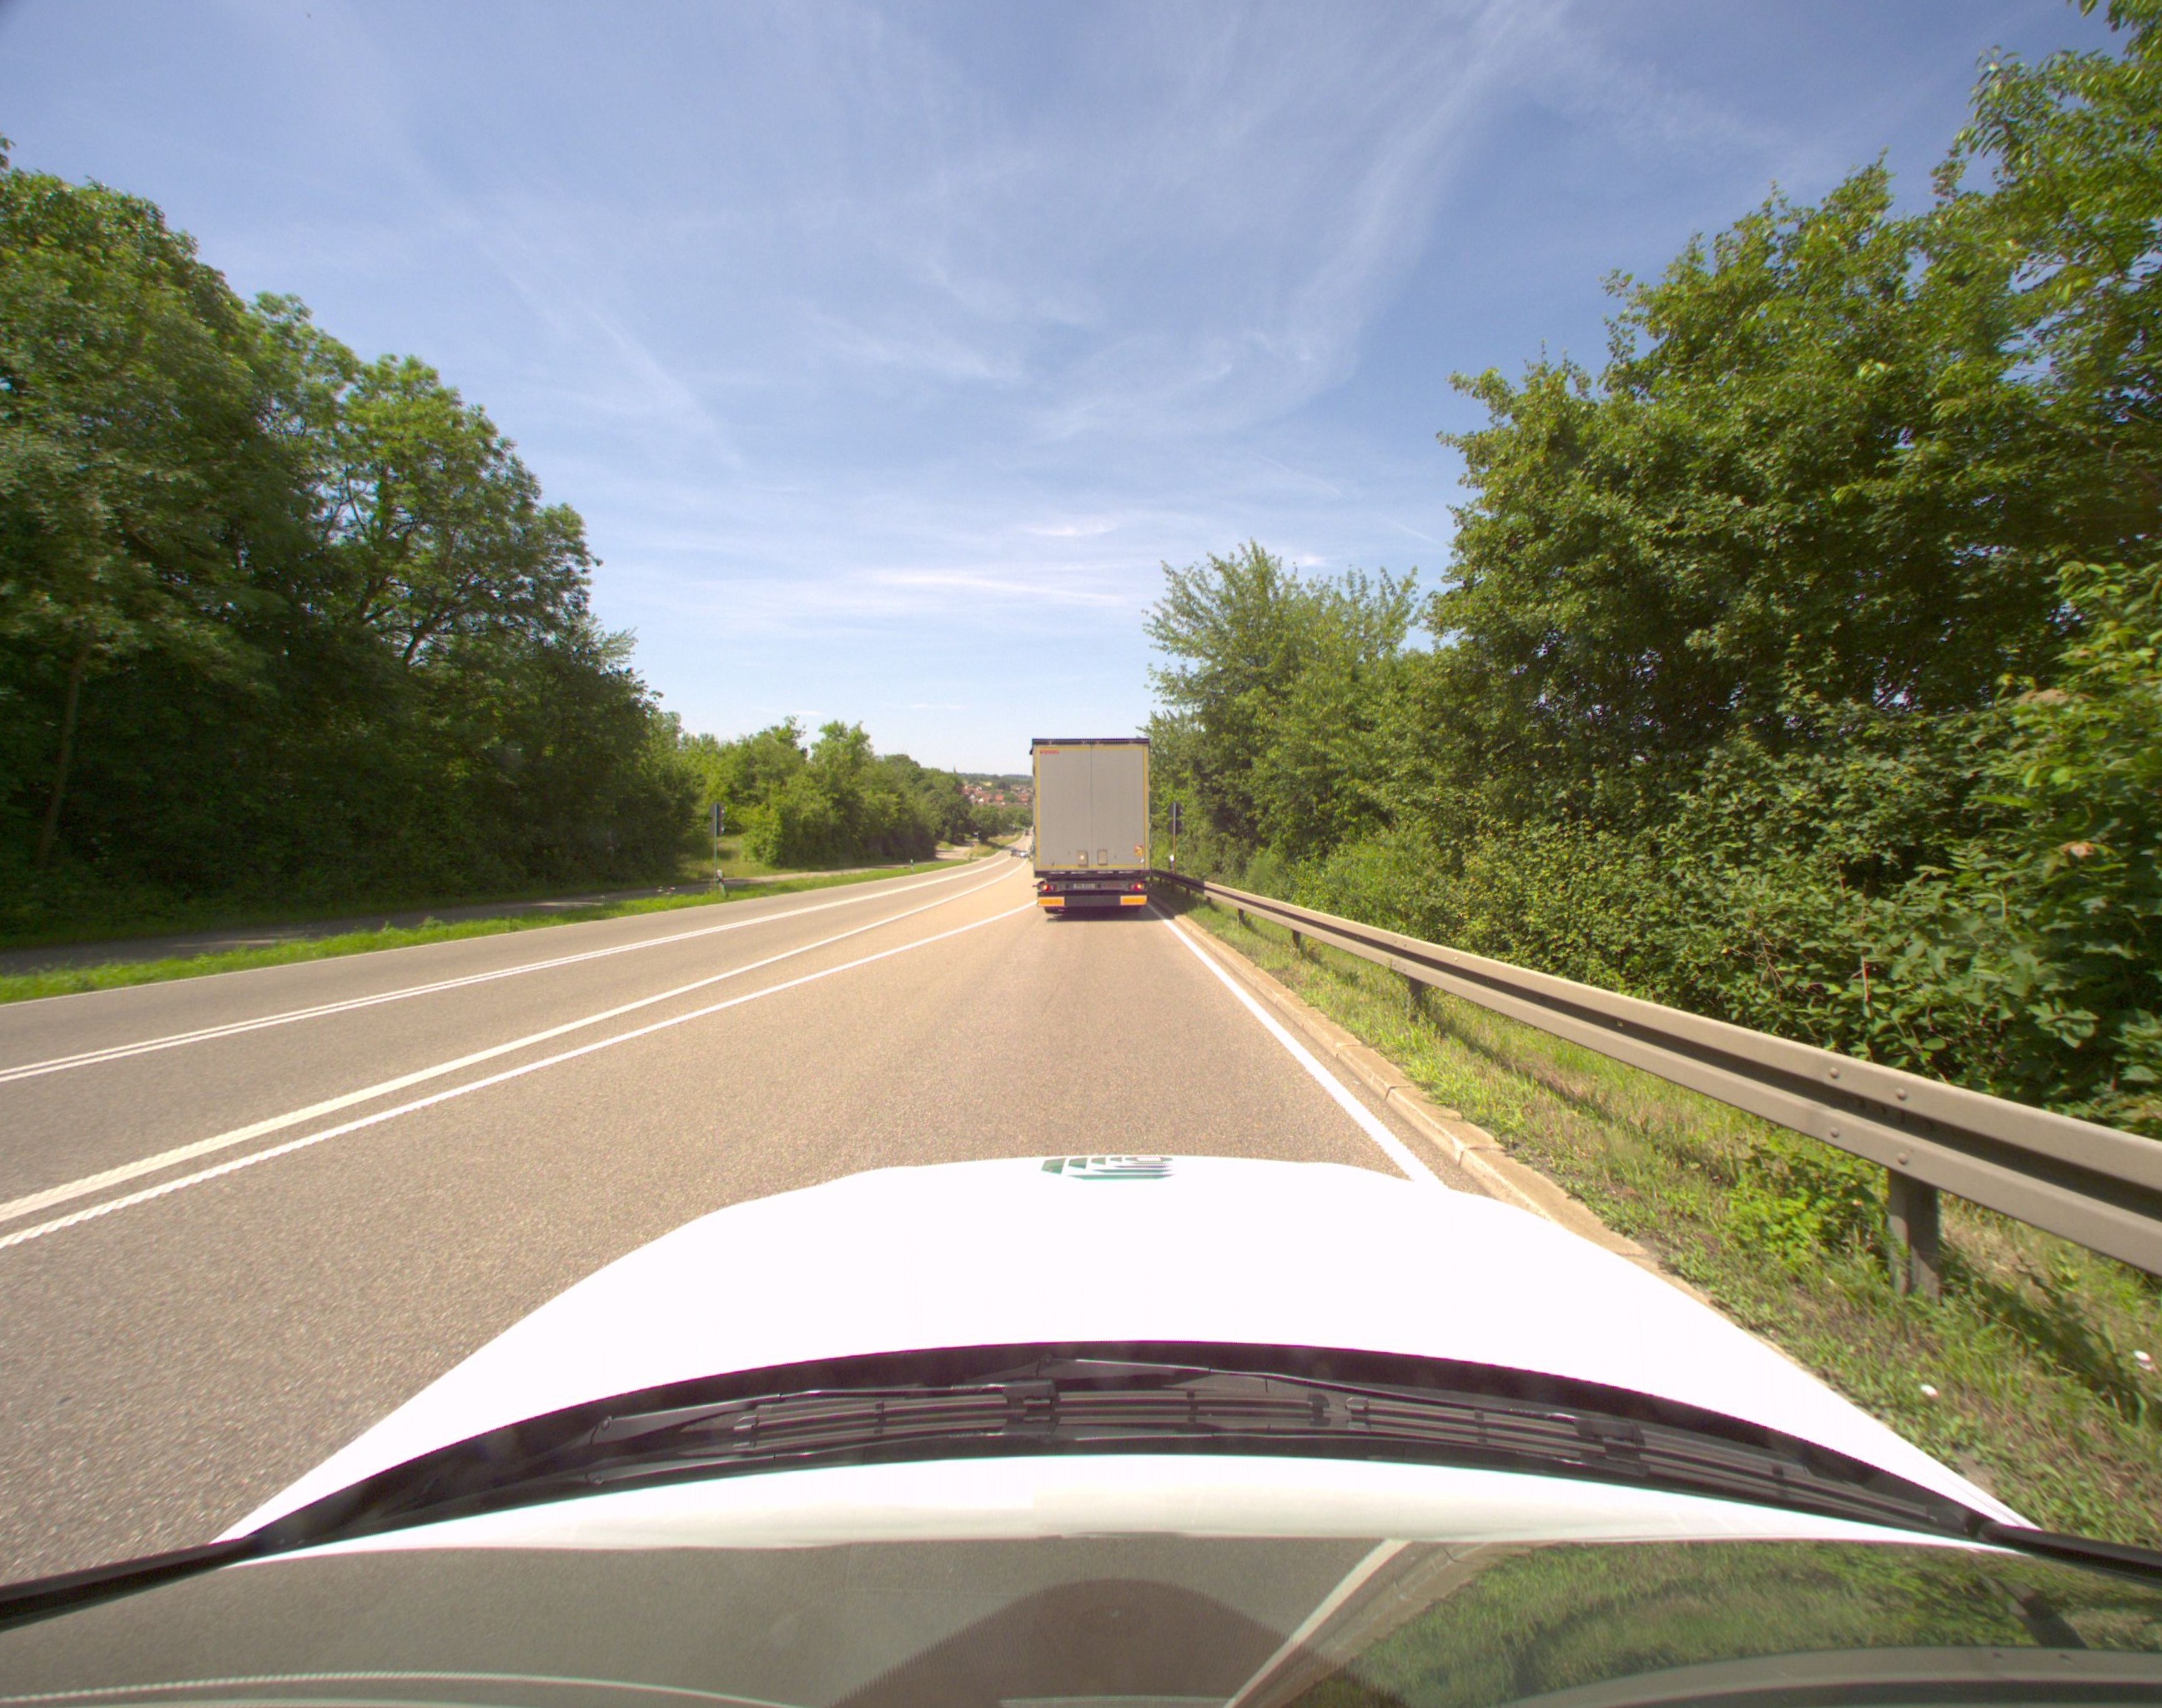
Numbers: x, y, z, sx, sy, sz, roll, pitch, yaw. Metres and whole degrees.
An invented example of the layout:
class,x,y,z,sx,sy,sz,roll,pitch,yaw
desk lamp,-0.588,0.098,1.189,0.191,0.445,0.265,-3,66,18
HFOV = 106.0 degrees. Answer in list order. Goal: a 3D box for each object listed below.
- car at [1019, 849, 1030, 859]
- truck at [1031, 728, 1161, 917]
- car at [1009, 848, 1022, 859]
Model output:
class,x,y,z,sx,sy,sz,roll,pitch,yaw
car,-10.791,-0.028,155.685,1.526,1.794,3.388,0,-1,-13
truck,0.439,-0.712,23.482,2.747,4.029,11.926,-1,0,1
car,-12.140,-0.129,150.097,1.767,1.926,3.729,0,-1,-15
